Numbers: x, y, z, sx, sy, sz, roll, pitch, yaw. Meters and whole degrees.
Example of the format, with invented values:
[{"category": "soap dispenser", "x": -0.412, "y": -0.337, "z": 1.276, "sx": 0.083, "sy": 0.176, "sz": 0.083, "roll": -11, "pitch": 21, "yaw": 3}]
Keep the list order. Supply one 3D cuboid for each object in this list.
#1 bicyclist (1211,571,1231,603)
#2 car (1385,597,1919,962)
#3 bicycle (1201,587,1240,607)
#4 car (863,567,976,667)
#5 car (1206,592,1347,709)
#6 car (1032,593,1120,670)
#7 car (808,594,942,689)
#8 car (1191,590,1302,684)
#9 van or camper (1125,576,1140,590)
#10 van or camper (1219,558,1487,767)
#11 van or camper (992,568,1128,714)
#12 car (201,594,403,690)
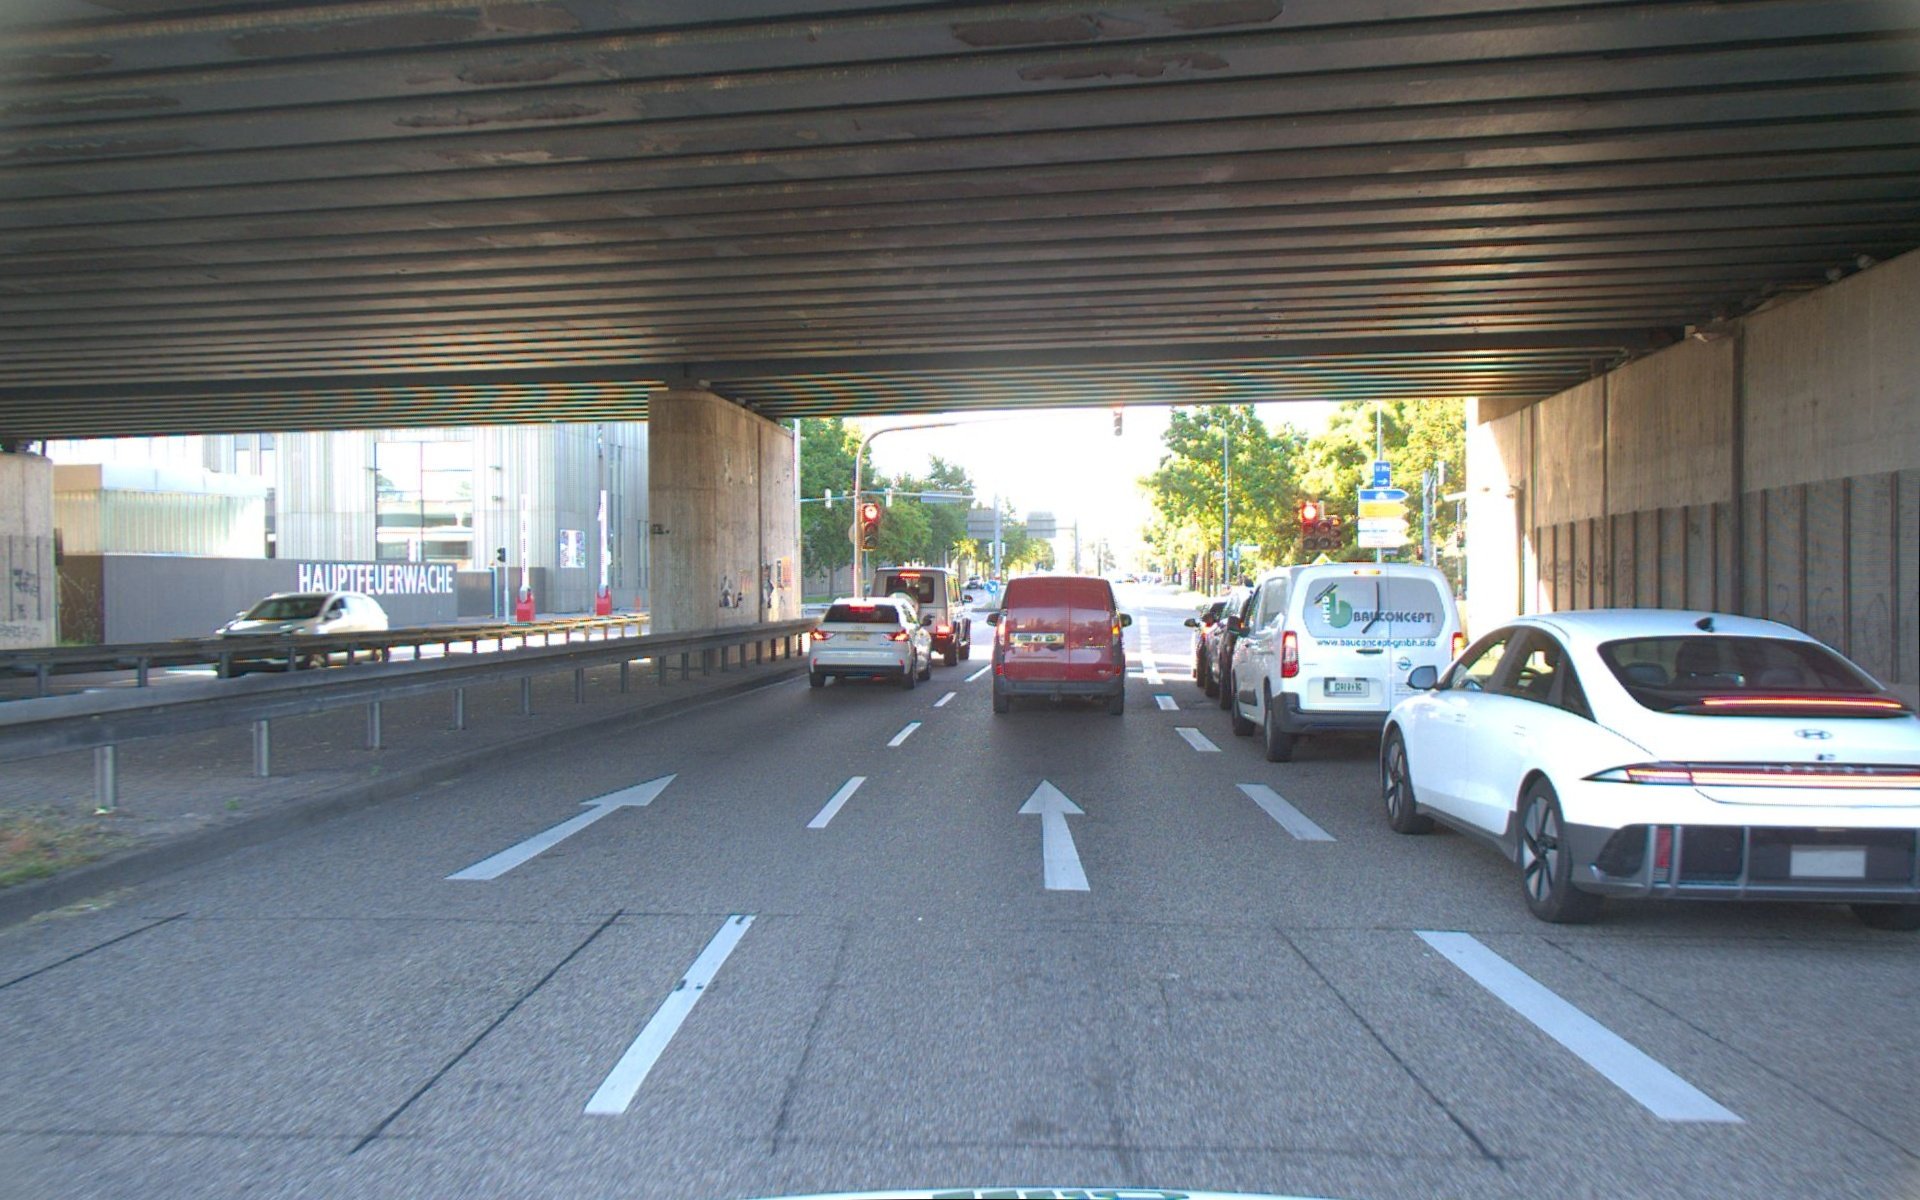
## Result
[{"category": "bicyclist", "x": 13.515, "y": -0.681, "z": 85.625, "sx": 0.902, "sy": 1.611, "sz": 0.770, "roll": -2, "pitch": -1, "yaw": 10}, {"category": "car", "x": 3.728, "y": 0.771, "z": 9.096, "sx": 1.727, "sy": 1.501, "sz": 4.289, "roll": 1, "pitch": 0, "yaw": 1}, {"category": "bicycle", "x": 13.502, "y": -0.157, "z": 85.621, "sx": 1.947, "sy": 0.977, "sz": 0.775, "roll": -3, "pitch": 0, "yaw": 10}, {"category": "car", "x": -0.783, "y": 0.331, "z": 35.052, "sx": 1.826, "sy": 1.981, "sz": 4.599, "roll": 0, "pitch": 0, "yaw": 6}, {"category": "car", "x": 4.463, "y": 0.666, "z": 23.777, "sx": 1.672, "sy": 1.549, "sz": 3.745, "roll": 0, "pitch": 0, "yaw": 6}, {"category": "car", "x": 2.520, "y": 0.638, "z": 35.091, "sx": 1.726, "sy": 1.501, "sz": 4.291, "roll": -1, "pitch": 0, "yaw": 5}, {"category": "car", "x": -1.349, "y": 0.642, "z": 27.578, "sx": 1.672, "sy": 1.478, "sz": 3.745, "roll": 0, "pitch": 0, "yaw": 6}, {"category": "car", "x": 4.995, "y": 0.609, "z": 29.240, "sx": 1.672, "sy": 1.547, "sz": 3.745, "roll": 0, "pitch": 0, "yaw": 6}, {"category": "van or camper", "x": 25.518, "y": -2.531, "z": 244.685, "sx": 1.747, "sy": 1.896, "sz": 3.912, "roll": -3, "pitch": 0, "yaw": 11}, {"category": "van or camper", "x": 3.827, "y": 0.555, "z": 16.886, "sx": 1.788, "sy": 1.822, "sz": 4.546, "roll": 1, "pitch": 0, "yaw": 2}, {"category": "van or camper", "x": 1.458, "y": 0.514, "z": 22.881, "sx": 1.717, "sy": 1.845, "sz": 3.961, "roll": 0, "pitch": 0, "yaw": 6}, {"category": "car", "x": -12.284, "y": 0.750, "z": 31.187, "sx": 1.745, "sy": 1.674, "sz": 4.204, "roll": 0, "pitch": 0, "yaw": 7}]
